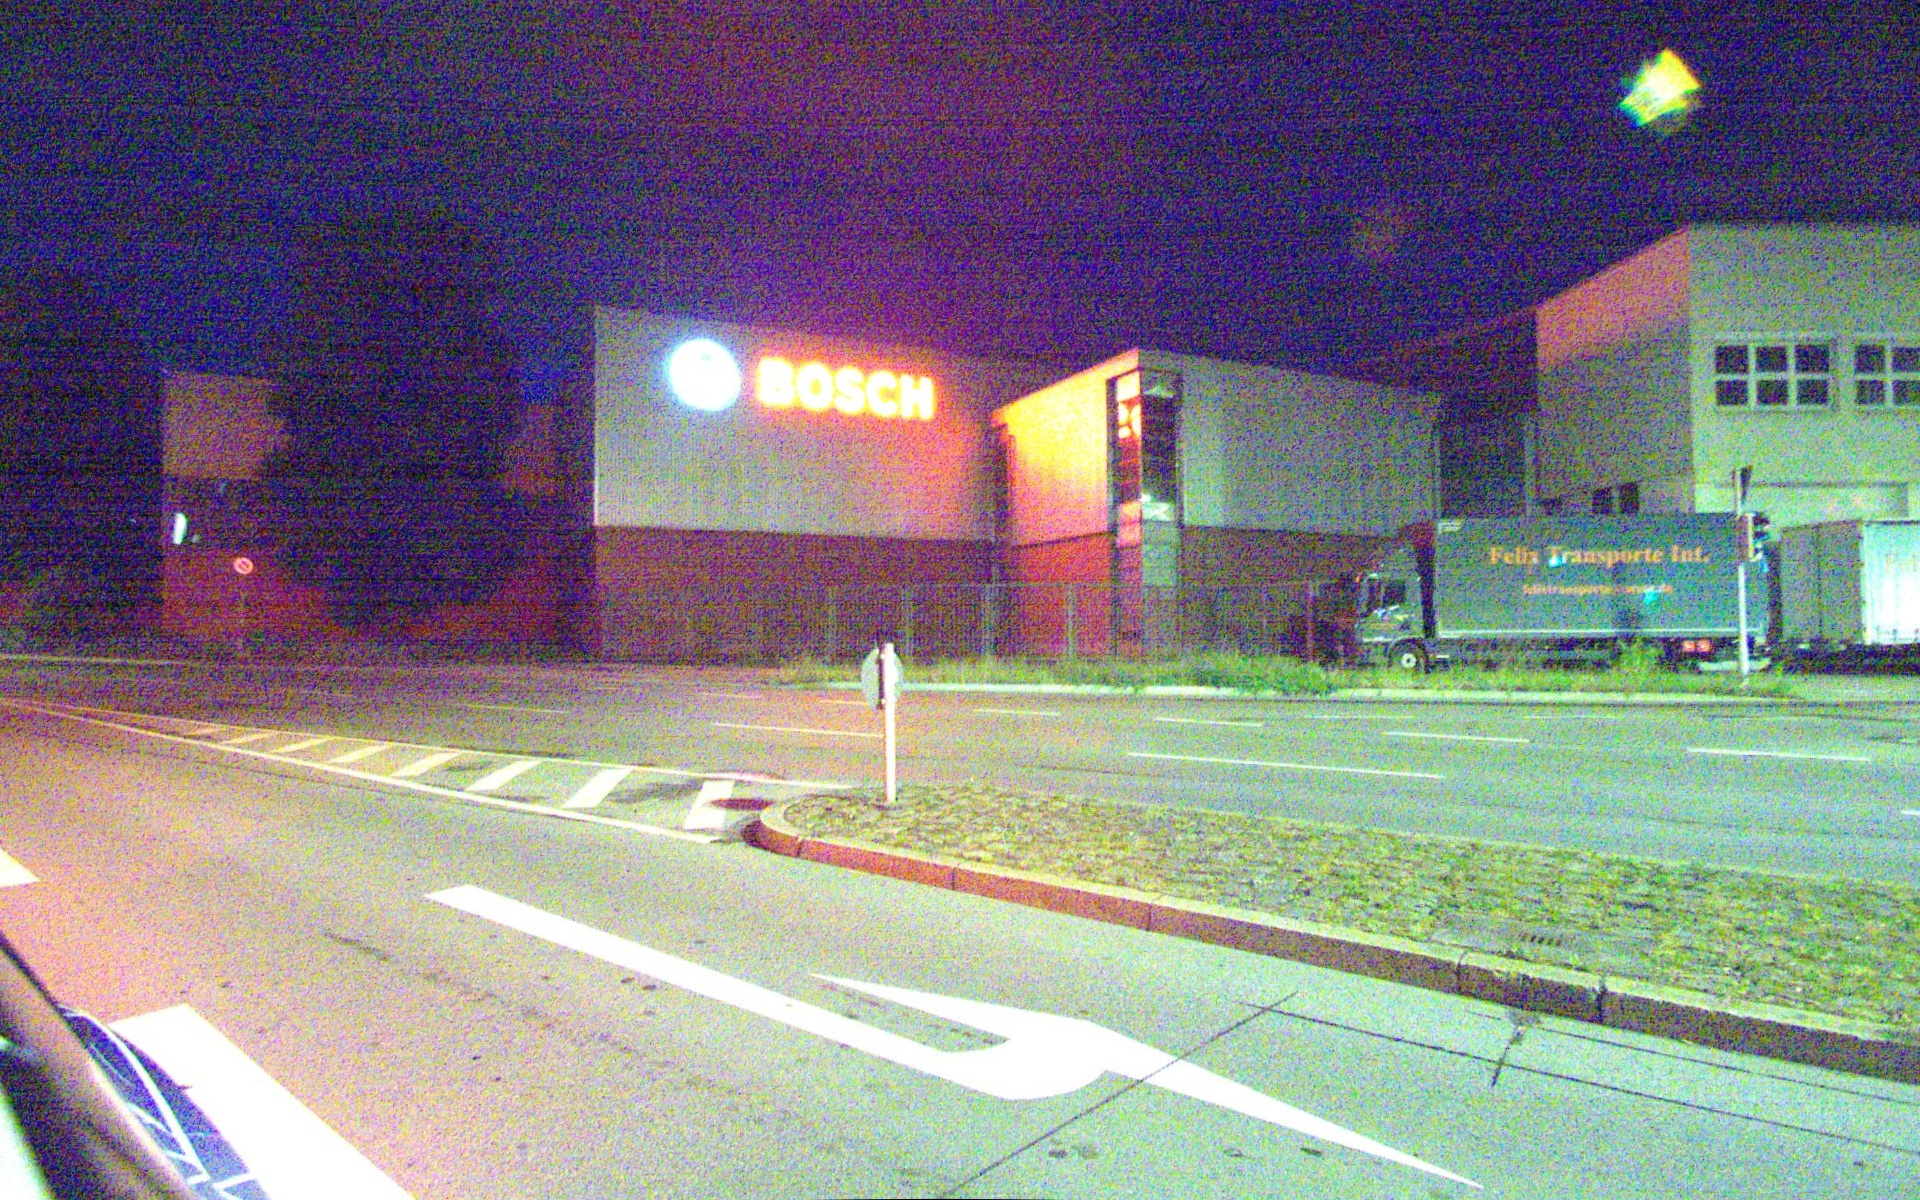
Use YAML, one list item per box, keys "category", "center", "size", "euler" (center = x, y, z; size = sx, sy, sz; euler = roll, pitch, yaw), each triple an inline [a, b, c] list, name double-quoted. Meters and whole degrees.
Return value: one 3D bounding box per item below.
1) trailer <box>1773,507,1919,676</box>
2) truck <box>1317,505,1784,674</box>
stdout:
- category: "trailer"
  center: [23.718, -0.172, 24.050]
  size: [6.430, 3.819, 2.619]
  euler: [0, -1, 4]
- category: "truck"
  center: [13.997, -0.241, 24.798]
  size: [9.439, 3.825, 2.942]
  euler: [0, -1, 6]
